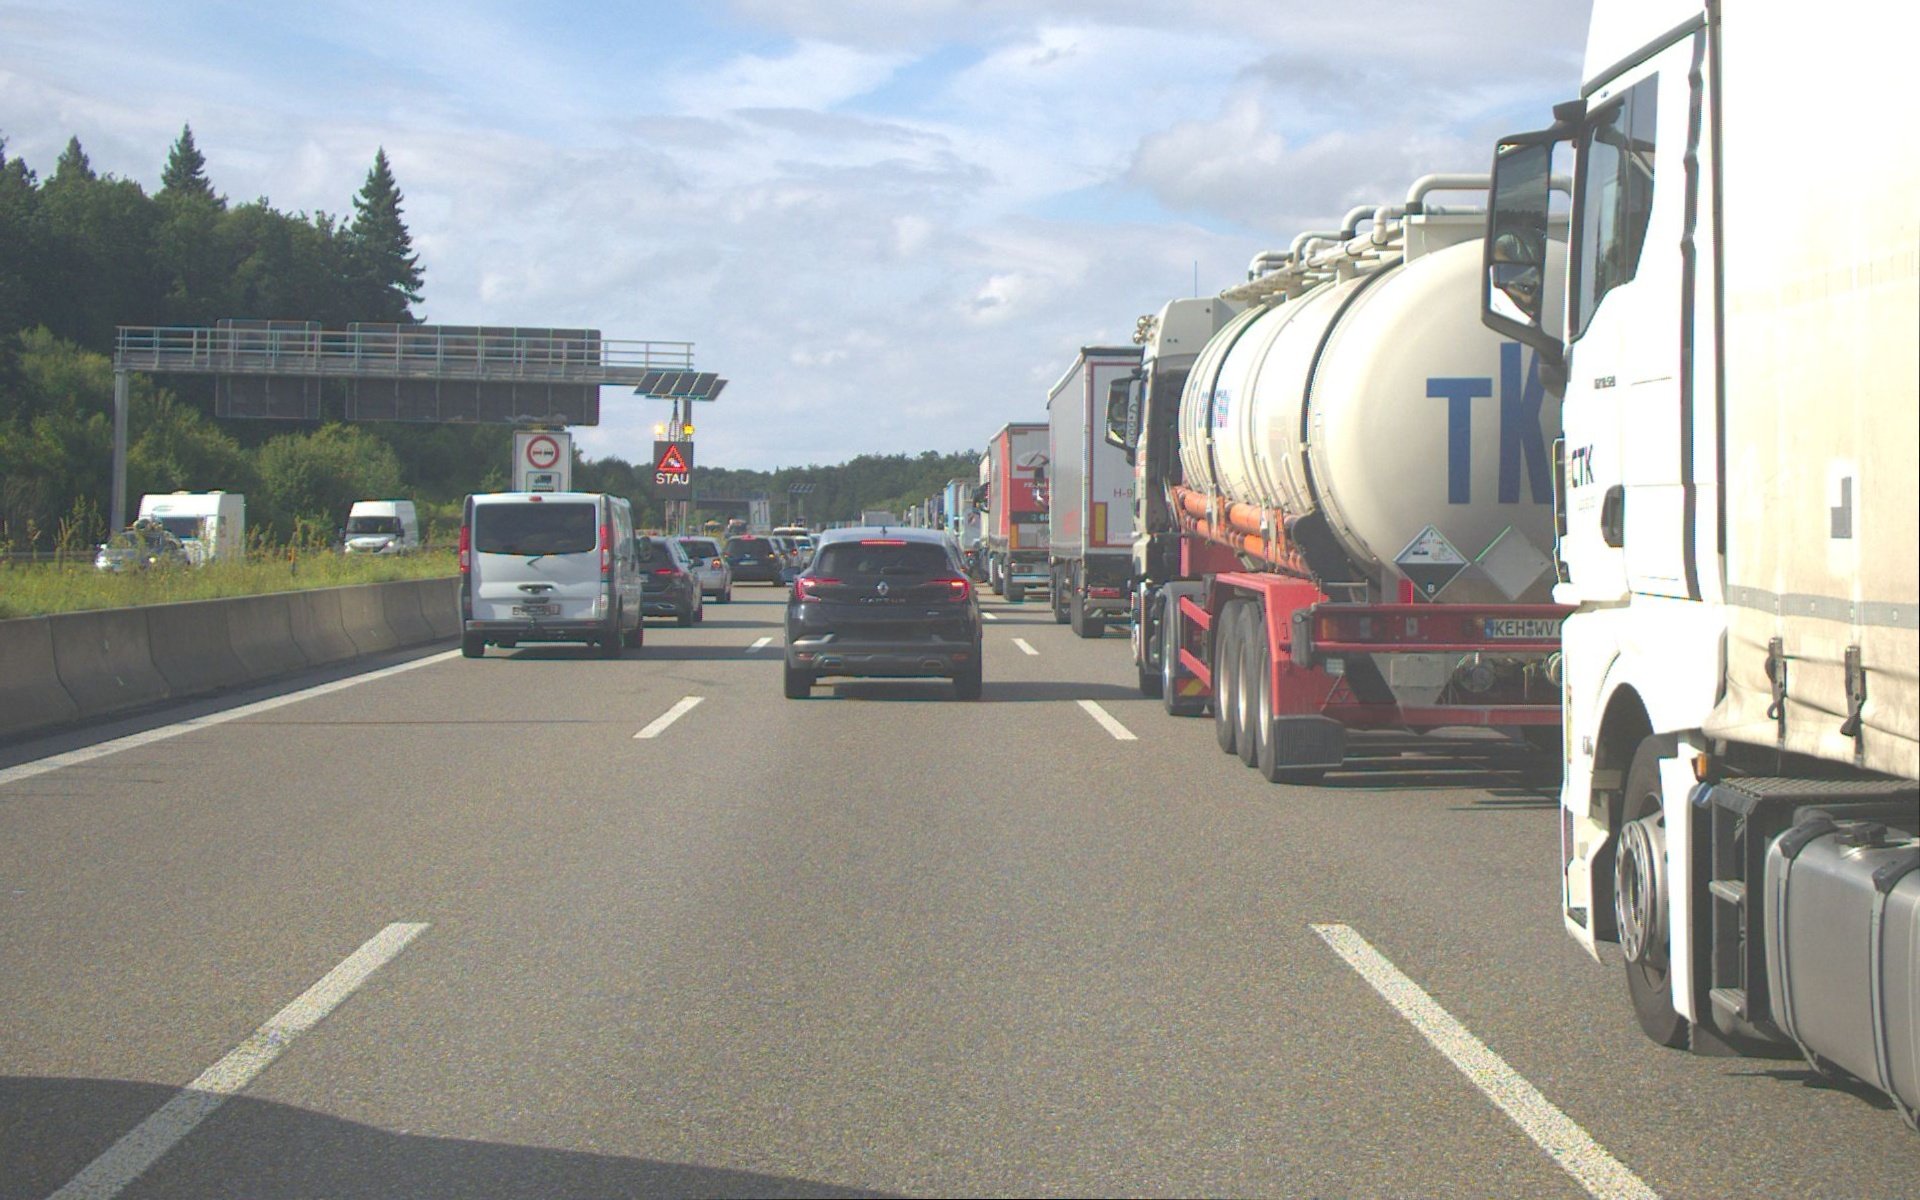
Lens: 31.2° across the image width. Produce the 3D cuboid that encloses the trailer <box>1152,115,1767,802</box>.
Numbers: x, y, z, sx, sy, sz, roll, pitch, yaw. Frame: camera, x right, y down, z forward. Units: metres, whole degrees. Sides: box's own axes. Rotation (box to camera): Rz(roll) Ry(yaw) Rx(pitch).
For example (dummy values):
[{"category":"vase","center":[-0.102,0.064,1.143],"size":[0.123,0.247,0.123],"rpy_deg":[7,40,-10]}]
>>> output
[{"category":"trailer","center":[2.954,-0.825,23.599],"size":[2.541,3.641,10.627],"rpy_deg":[0,1,-1]}]

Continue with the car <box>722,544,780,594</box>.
[{"category":"car","center":[-5.985,-0.897,98.717],"size":[1.434,1.305,3.534],"rpy_deg":[3,1,-1]}]

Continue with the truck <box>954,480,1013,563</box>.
[{"category":"truck","center":[0.853,-2.917,128.620],"size":[1.993,2.922,4.982],"rpy_deg":[3,1,0]}]

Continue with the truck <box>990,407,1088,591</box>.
[{"category":"truck","center":[1.876,-2.408,83.435],"size":[2.134,4.267,6.339],"rpy_deg":[1,1,0]}]

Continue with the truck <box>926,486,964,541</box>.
[{"category":"truck","center":[-0.861,-4.981,198.999],"size":[1.993,3.042,4.982],"rpy_deg":[3,1,0]}]

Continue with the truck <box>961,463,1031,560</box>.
[{"category":"truck","center":[1.138,-2.819,110.245],"size":[1.993,2.922,4.982],"rpy_deg":[3,1,0]}]

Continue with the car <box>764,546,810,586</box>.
[{"category":"car","center":[-6.061,-1.205,120.841],"size":[1.434,1.305,3.534],"rpy_deg":[3,1,-1]}]

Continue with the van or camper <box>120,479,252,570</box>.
[{"category":"van or camper","center":[-21.232,-2.048,94.584],"size":[2.459,2.405,5.853],"rpy_deg":[0,1,-2]}]

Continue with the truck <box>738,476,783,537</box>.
[{"category":"truck","center":[-12.464,-5.807,214.910],"size":[2.344,3.582,6.306],"rpy_deg":[3,1,-1]}]

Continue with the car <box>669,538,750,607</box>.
[{"category":"car","center":[-5.461,-0.616,75.248],"size":[1.500,1.391,3.476],"rpy_deg":[3,1,-1]}]

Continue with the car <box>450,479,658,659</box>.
[{"category":"car","center":[-4.932,-0.395,42.433],"size":[1.933,1.972,5.099],"rpy_deg":[3,1,-1]}]

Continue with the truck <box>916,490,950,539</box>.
[{"category":"truck","center":[-1.760,-5.627,226.033],"size":[1.993,3.042,4.982],"rpy_deg":[3,1,0]}]

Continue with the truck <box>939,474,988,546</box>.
[{"category":"truck","center":[0.146,-4.001,154.203],"size":[1.993,3.042,4.982],"rpy_deg":[3,1,0]}]

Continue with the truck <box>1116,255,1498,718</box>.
[{"category":"truck","center":[2.841,-0.929,29.995],"size":[2.533,3.571,6.730],"rpy_deg":[0,1,-1]}]

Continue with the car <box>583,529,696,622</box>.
[{"category":"car","center":[-5.124,-0.410,55.241],"size":[1.500,1.391,3.476],"rpy_deg":[2,1,-1]}]

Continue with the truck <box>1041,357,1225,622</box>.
[{"category":"truck","center":[2.825,-1.803,58.023],"size":[2.786,4.232,6.460],"rpy_deg":[0,1,0]}]

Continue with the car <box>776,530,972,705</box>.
[{"category":"car","center":[-0.788,0.112,32.195],"size":[1.696,1.478,4.160],"rpy_deg":[1,1,-1]}]

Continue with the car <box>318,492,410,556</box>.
[{"category":"car","center":[-22.294,-2.831,128.914],"size":[2.315,2.185,6.864],"rpy_deg":[3,1,-2]}]

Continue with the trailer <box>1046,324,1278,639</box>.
[{"category":"trailer","center":[2.846,-1.671,51.679],"size":[2.802,4.229,11.057],"rpy_deg":[0,1,0]}]

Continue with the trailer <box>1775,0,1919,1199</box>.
[{"category":"trailer","center":[3.324,-0.597,1.477],"size":[2.703,4.068,12.945],"rpy_deg":[0,1,-1]}]

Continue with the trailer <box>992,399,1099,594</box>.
[{"category":"trailer","center":[1.904,-2.315,79.168],"size":[2.150,4.244,8.440],"rpy_deg":[1,1,0]}]

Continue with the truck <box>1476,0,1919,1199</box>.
[{"category":"truck","center":[3.212,-0.726,8.904],"size":[2.708,4.046,6.362],"rpy_deg":[0,1,-1]}]

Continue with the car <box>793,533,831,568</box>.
[{"category":"car","center":[-5.825,-1.945,135.818],"size":[1.361,1.296,3.085],"rpy_deg":[3,1,-1]}]

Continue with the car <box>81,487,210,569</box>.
[{"category":"car","center":[-21.066,-1.848,89.117],"size":[2.239,2.050,5.083],"rpy_deg":[1,1,-2]}]
